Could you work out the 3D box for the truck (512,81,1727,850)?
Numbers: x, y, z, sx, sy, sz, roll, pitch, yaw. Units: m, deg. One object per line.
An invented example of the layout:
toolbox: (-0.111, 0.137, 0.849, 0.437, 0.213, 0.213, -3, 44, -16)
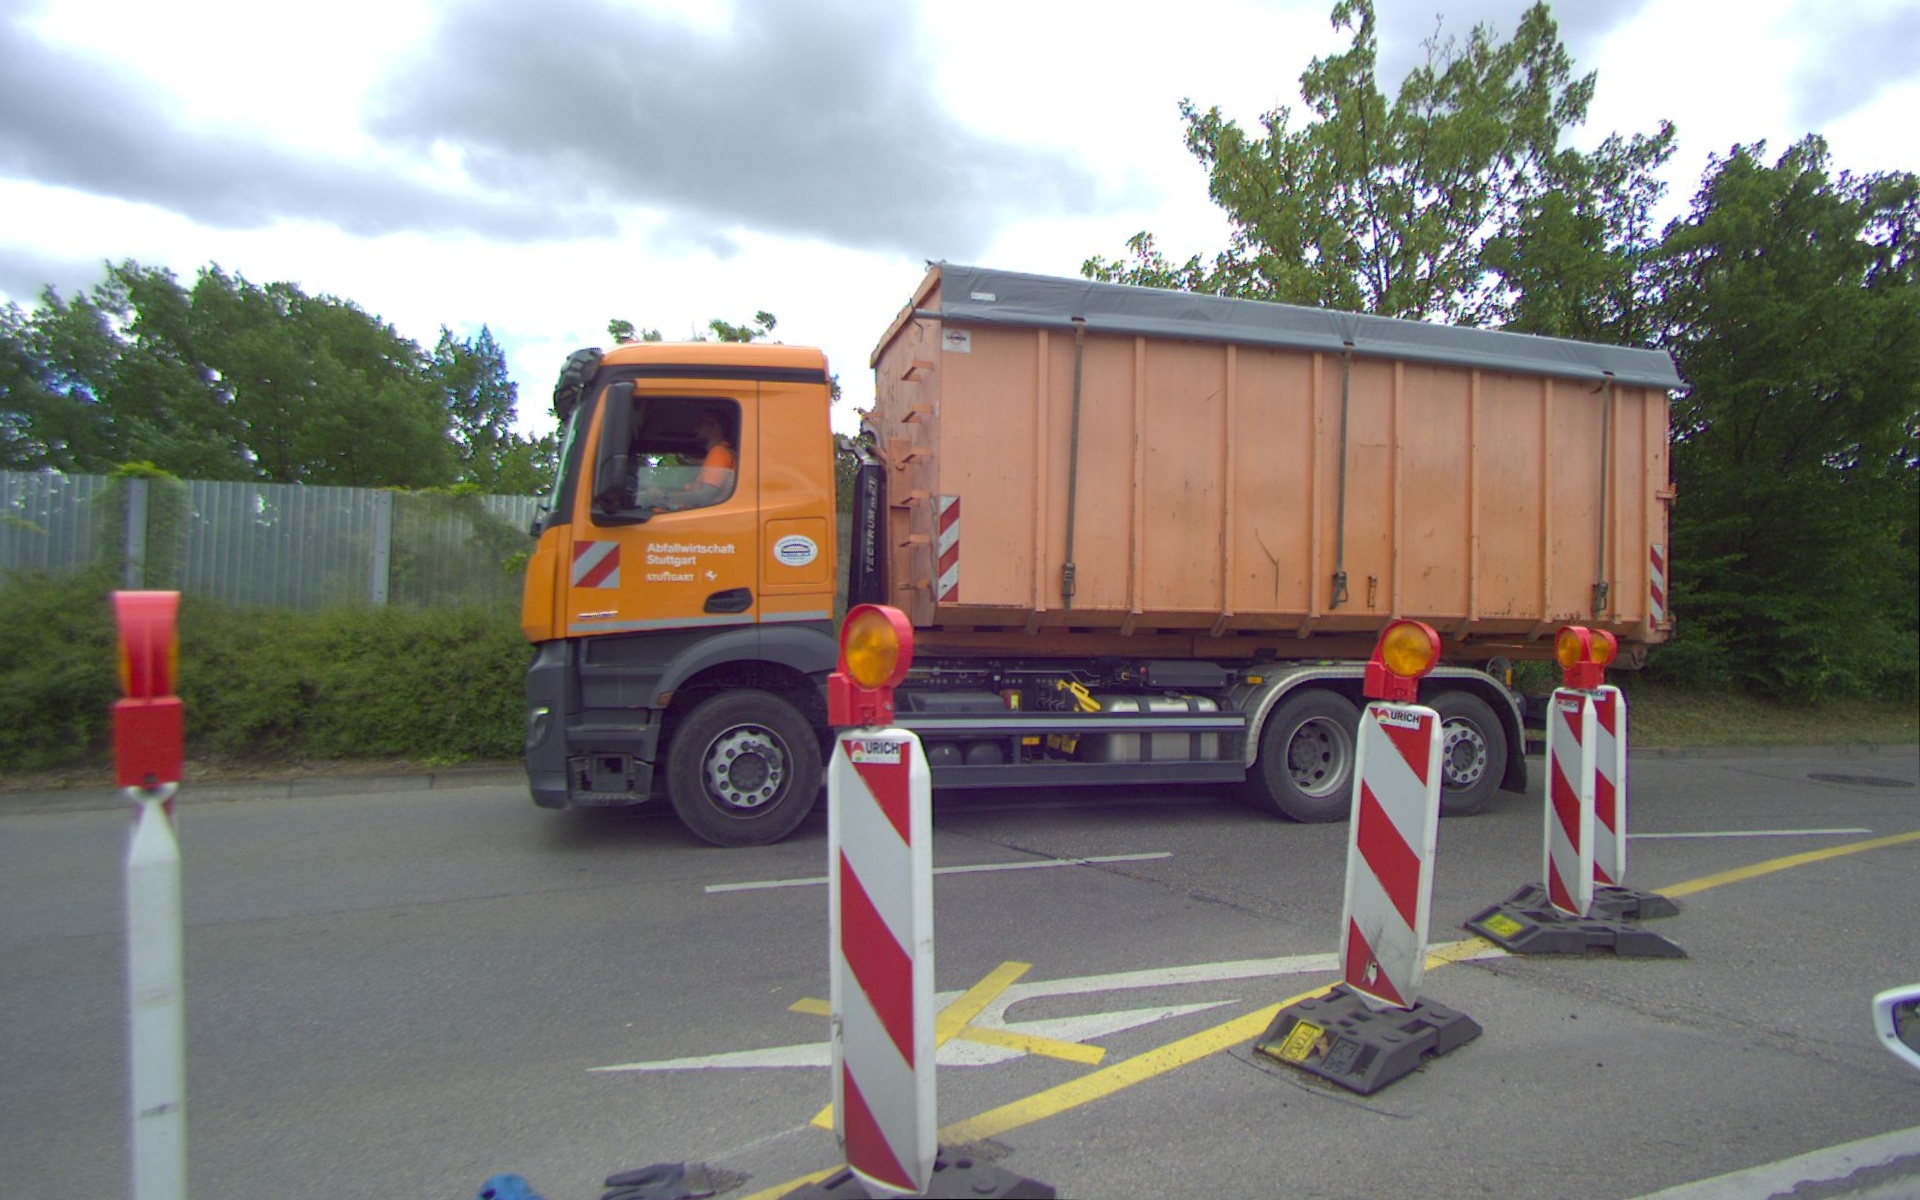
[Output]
truck: (1.637, -0.602, 8.630, 9.641, 4.276, 3.108, 2, -1, -19)
